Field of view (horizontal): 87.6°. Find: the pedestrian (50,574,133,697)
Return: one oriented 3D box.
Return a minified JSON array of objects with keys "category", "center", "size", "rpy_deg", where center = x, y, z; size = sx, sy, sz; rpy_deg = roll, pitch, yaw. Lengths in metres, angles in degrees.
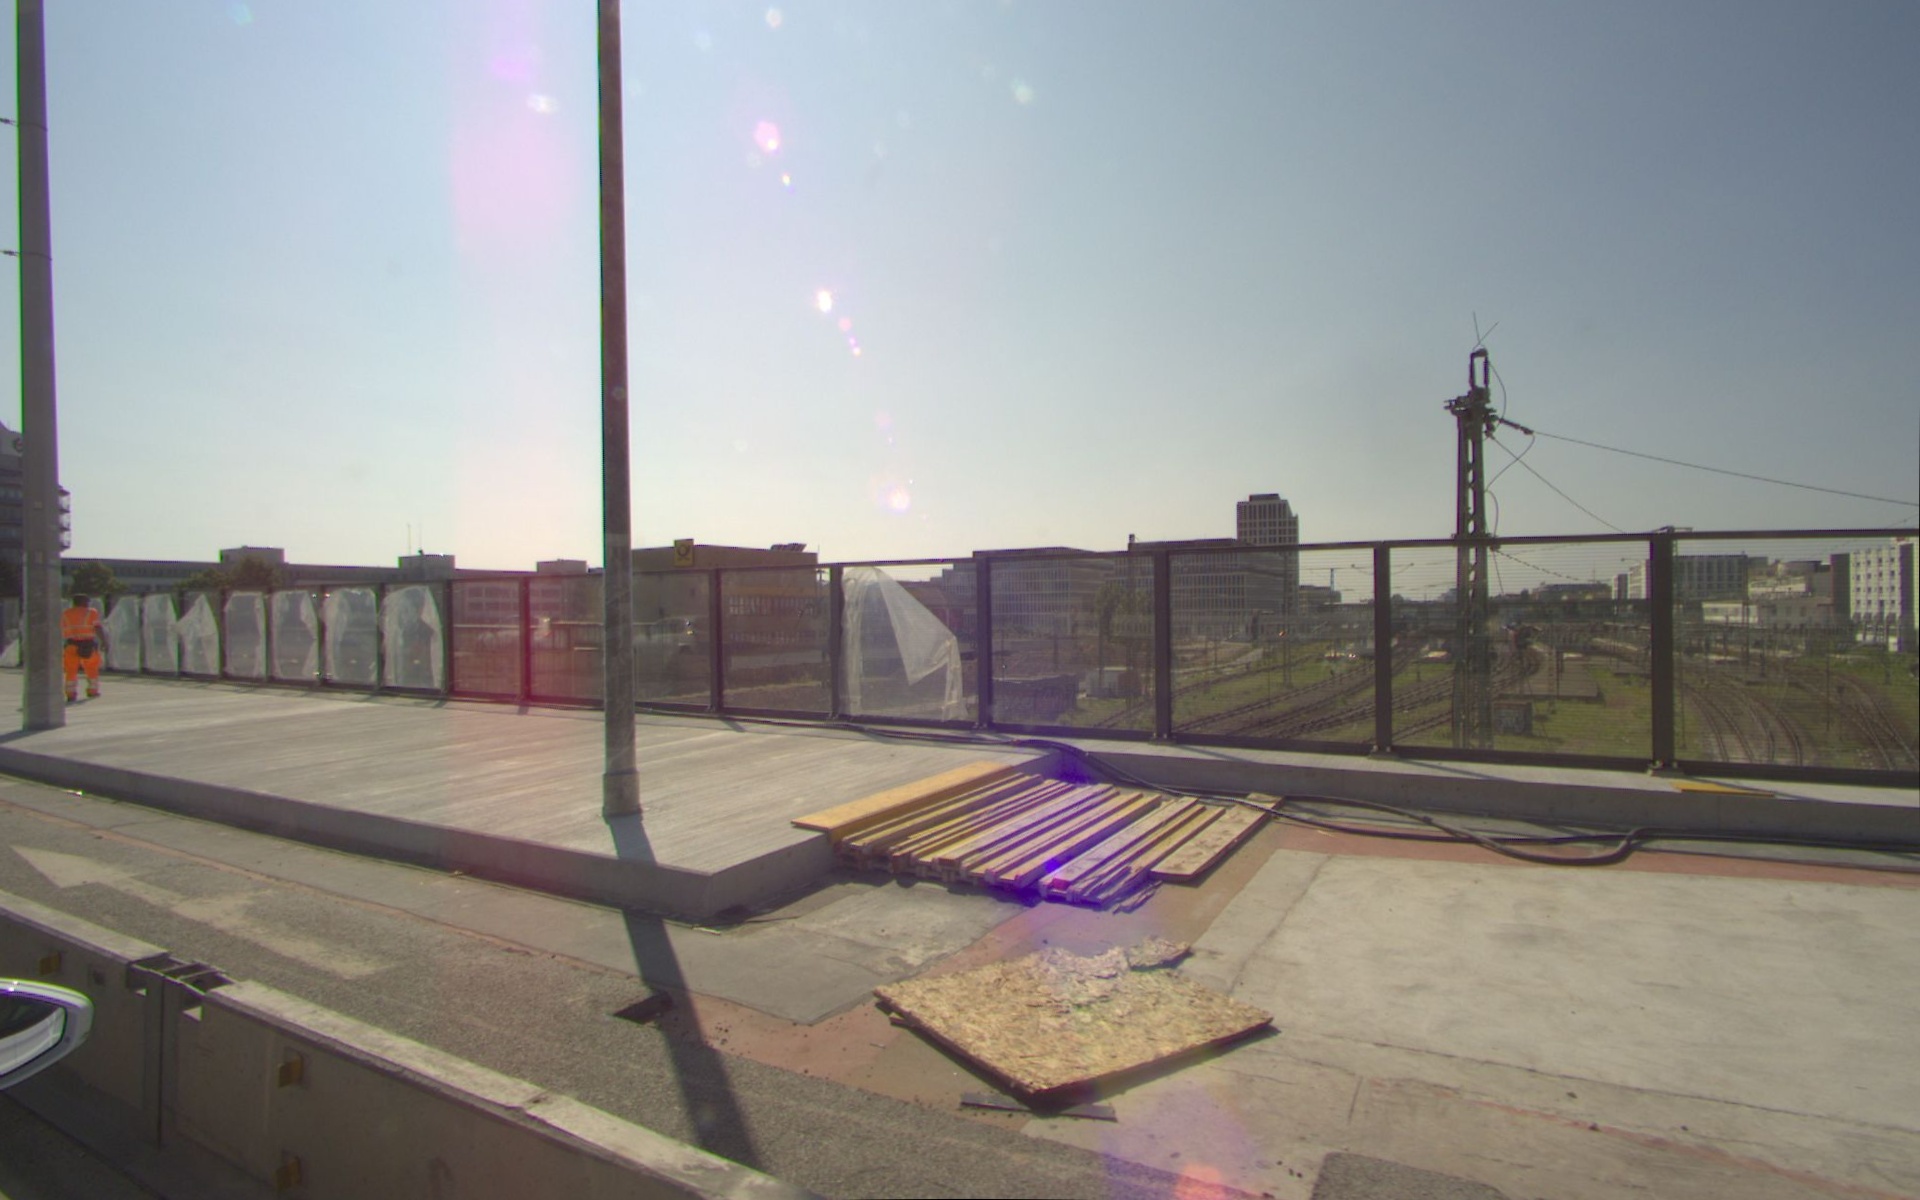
[{"category":"pedestrian","center":[-14.209,0.565,16.394],"size":[0.788,1.961,0.780],"rpy_deg":[-1,1,32]}]
